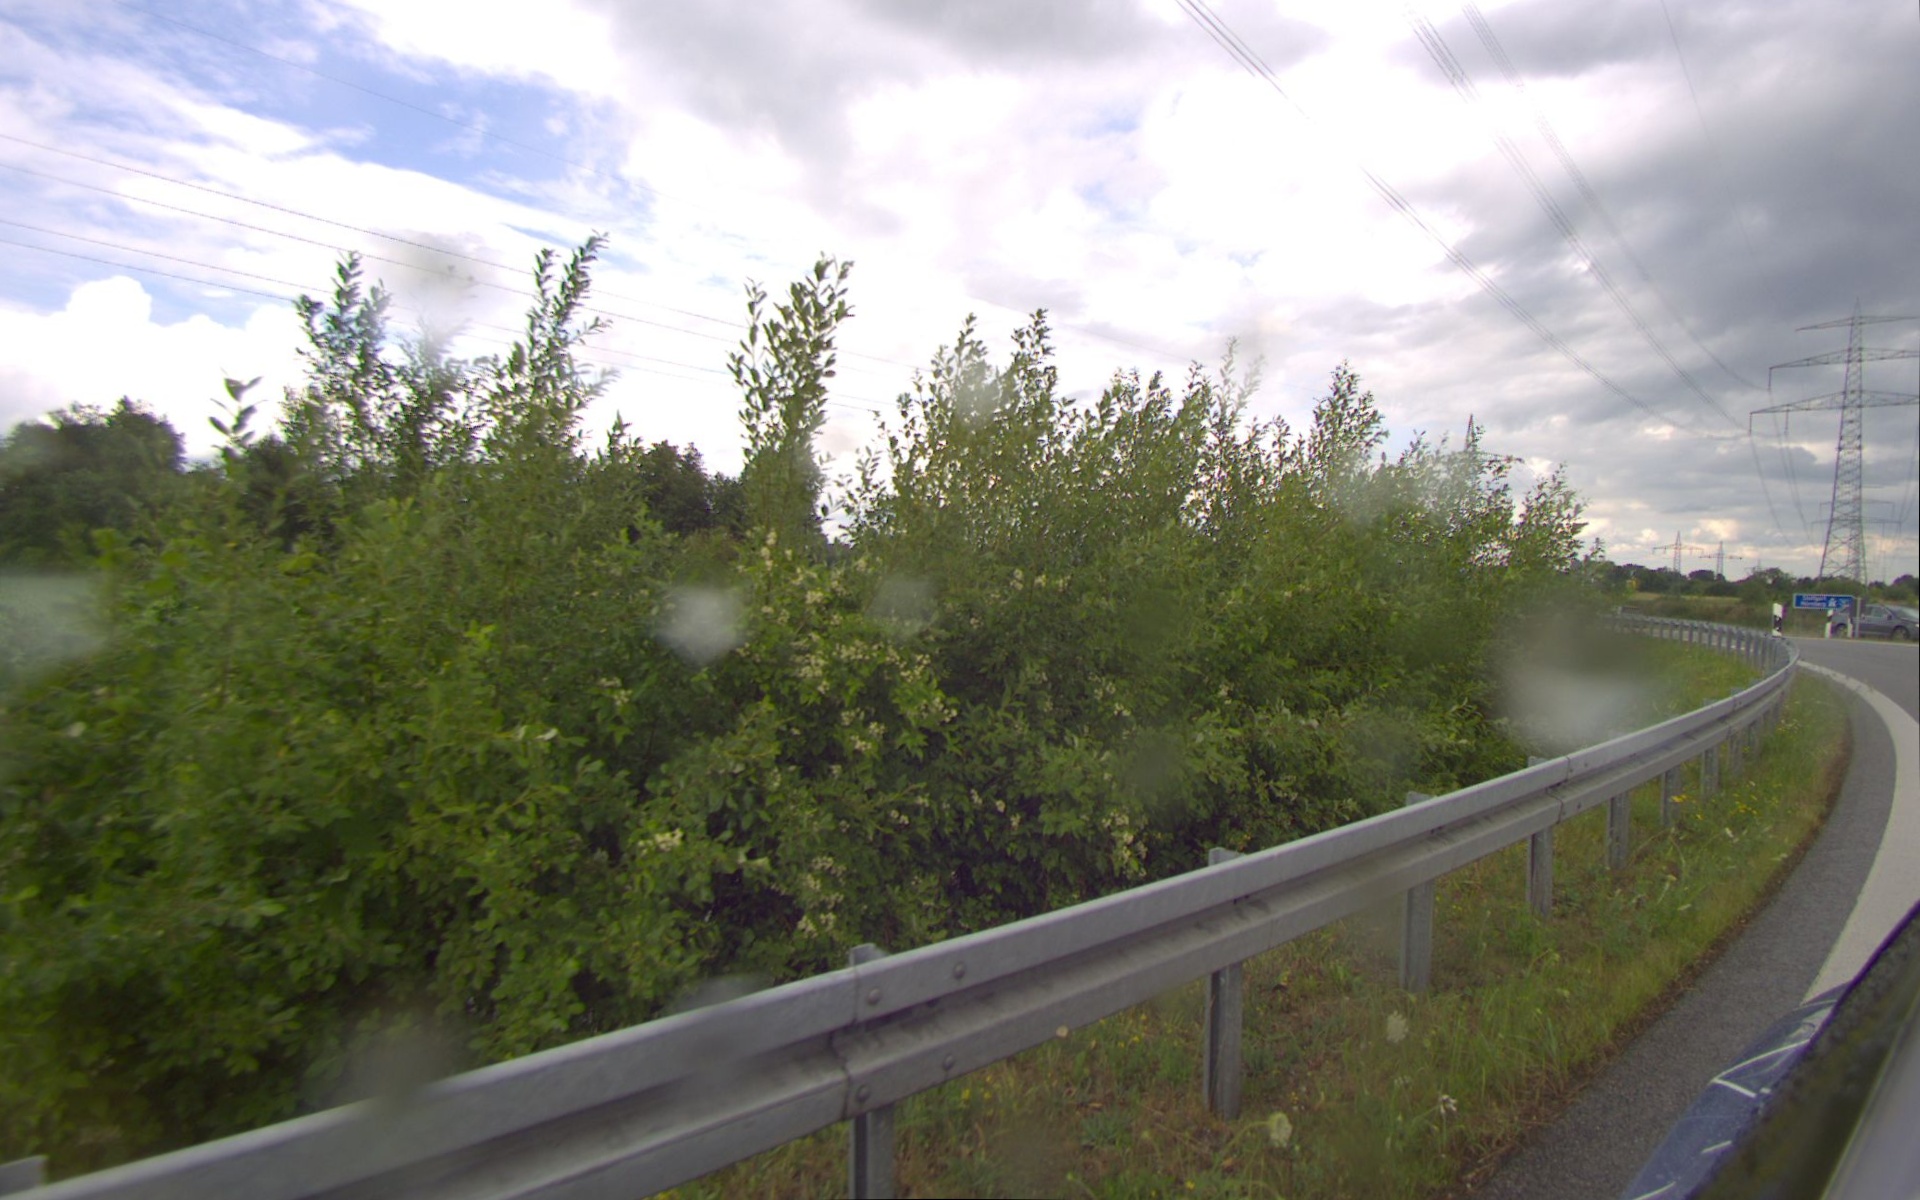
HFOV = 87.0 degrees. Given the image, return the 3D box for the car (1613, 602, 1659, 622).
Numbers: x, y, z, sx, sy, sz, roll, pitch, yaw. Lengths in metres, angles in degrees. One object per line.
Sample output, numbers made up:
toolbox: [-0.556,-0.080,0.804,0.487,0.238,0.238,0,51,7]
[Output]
car: [41.657,0.724,62.423,1.415,1.191,3.119,0,1,16]

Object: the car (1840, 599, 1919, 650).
car: [35.085,0.897,37.247,1.963,1.774,3.998,1,1,2]
